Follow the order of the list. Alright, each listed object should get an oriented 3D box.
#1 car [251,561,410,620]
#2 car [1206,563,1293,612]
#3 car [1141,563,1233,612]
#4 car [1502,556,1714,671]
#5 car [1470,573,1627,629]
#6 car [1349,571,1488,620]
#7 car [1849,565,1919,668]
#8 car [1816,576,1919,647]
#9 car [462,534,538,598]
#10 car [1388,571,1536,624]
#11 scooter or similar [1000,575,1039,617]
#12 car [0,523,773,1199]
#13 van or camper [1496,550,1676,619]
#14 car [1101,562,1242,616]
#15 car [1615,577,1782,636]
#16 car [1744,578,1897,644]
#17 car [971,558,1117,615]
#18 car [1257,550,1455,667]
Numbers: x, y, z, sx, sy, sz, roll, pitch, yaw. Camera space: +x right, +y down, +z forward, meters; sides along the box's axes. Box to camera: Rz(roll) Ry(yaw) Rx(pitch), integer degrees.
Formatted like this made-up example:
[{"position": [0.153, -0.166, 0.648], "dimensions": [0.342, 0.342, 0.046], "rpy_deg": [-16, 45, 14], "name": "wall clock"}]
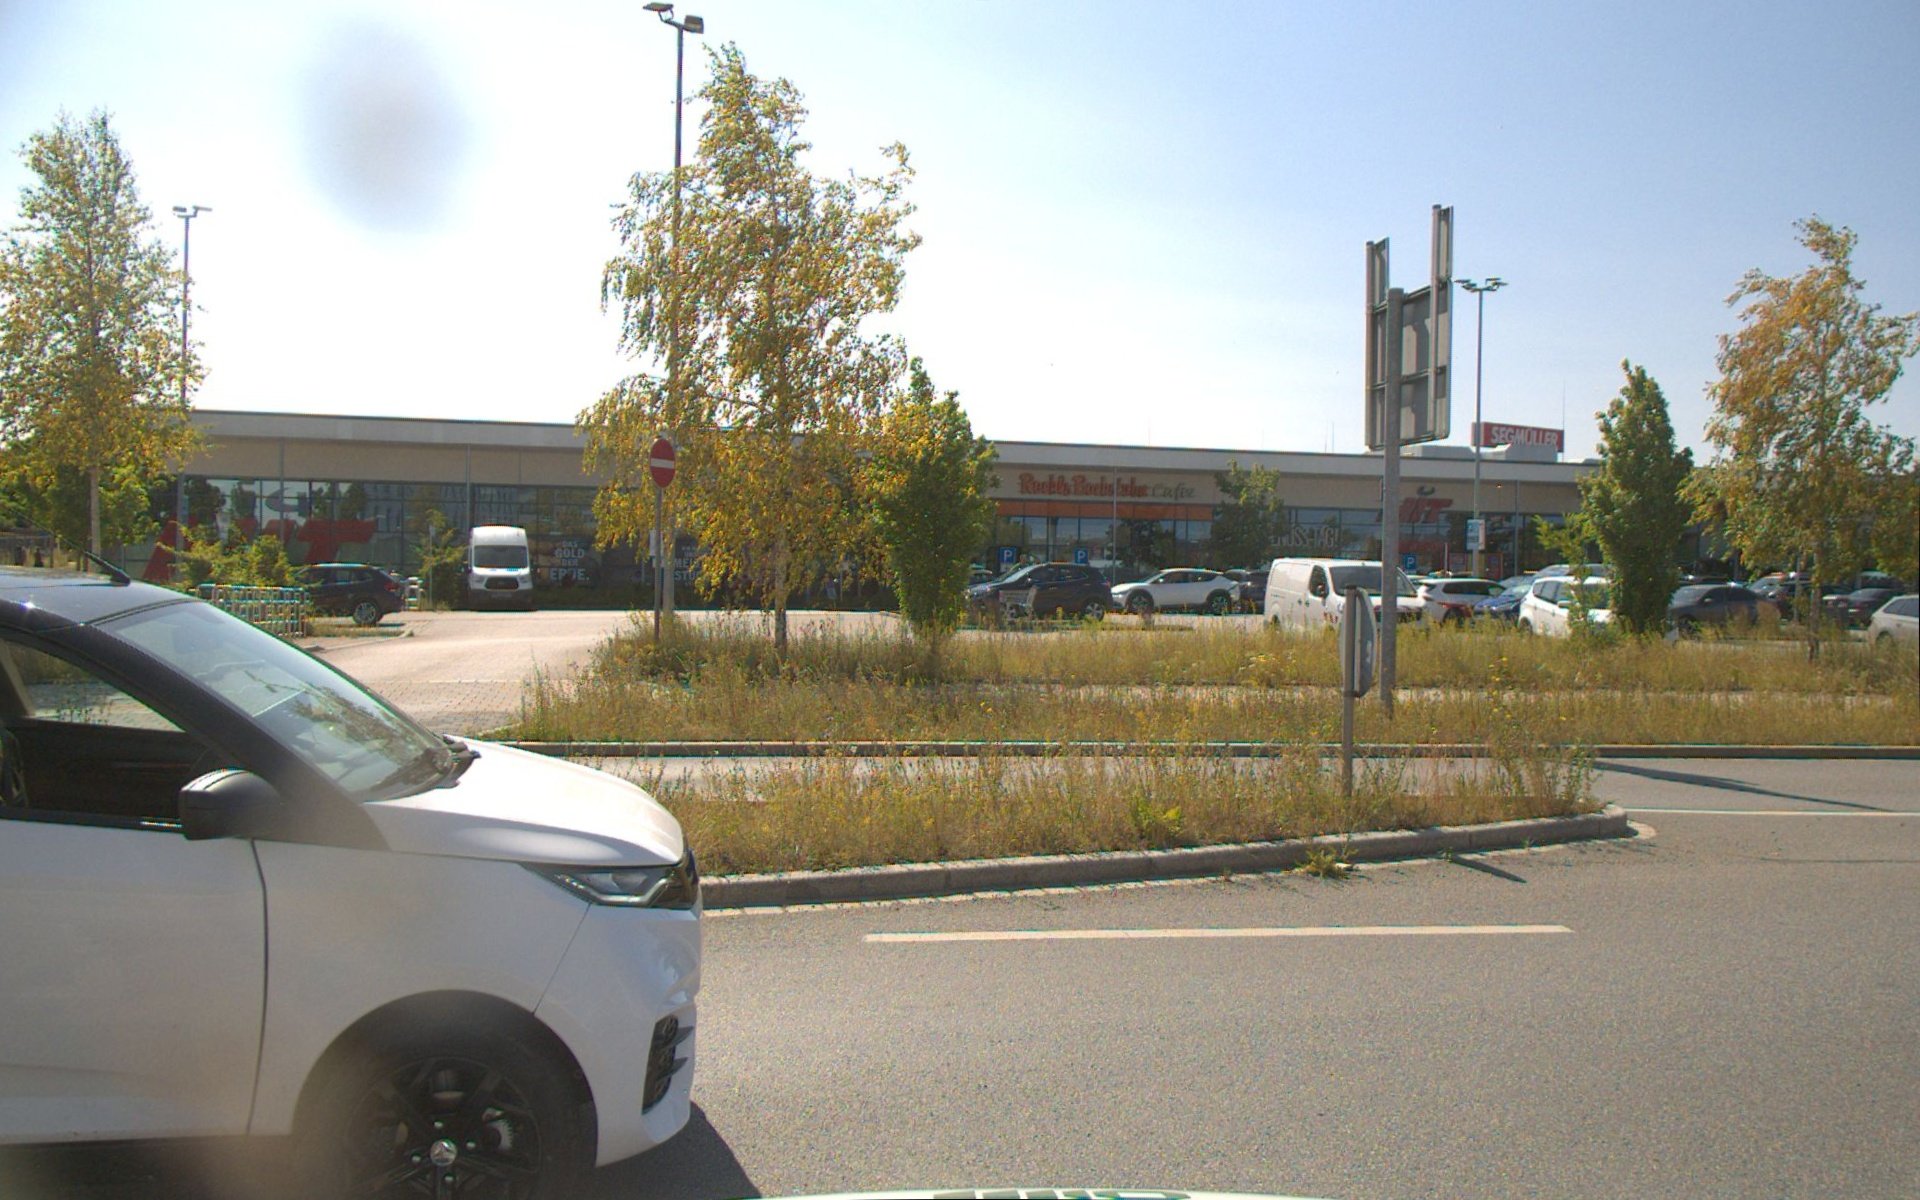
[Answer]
[{"position": [-16.396, -0.255, 43.260], "dimensions": [3.773, 1.448, 1.763], "rpy_deg": [1, 0, -19], "name": "car"}, {"position": [10.891, -0.494, 62.490], "dimensions": [1.958, 1.737, 3.990], "rpy_deg": [1, 1, -11], "name": "car"}, {"position": [8.401, -0.491, 61.563], "dimensions": [1.961, 1.737, 3.984], "rpy_deg": [0, 1, -15], "name": "car"}, {"position": [12.586, 0.196, 32.542], "dimensions": [2.113, 2.048, 5.116], "rpy_deg": [1, 1, -1], "name": "car"}, {"position": [15.628, 0.017, 43.966], "dimensions": [3.662, 1.415, 1.723], "rpy_deg": [0, 1, -18], "name": "car"}, {"position": [13.641, -0.141, 49.276], "dimensions": [3.662, 1.415, 1.723], "rpy_deg": [0, 1, -18], "name": "car"}, {"position": [20.231, 0.351, 33.048], "dimensions": [2.113, 2.048, 5.116], "rpy_deg": [1, 1, -1], "name": "car"}, {"position": [30.532, 0.375, 54.218], "dimensions": [4.405, 2.230, 1.988], "rpy_deg": [1, 0, -21], "name": "car"}, {"position": [-15.500, -1.143, 55.515], "dimensions": [2.188, 2.011, 6.662], "rpy_deg": [0, 1, -18], "name": "car"}, {"position": [14.034, -0.081, 46.259], "dimensions": [3.662, 1.415, 1.723], "rpy_deg": [0, 1, -18], "name": "car"}, {"position": [1.582, -0.117, 44.176], "dimensions": [0.926, 1.098, 0.651], "rpy_deg": [1, 1, -10], "name": "scooter or similar"}, {"position": [-1.977, 0.607, 3.879], "dimensions": [2.937, 1.515, 1.476], "rpy_deg": [1, 3, -11], "name": "car"}, {"position": [19.360, -0.487, 51.240], "dimensions": [4.947, 2.048, 1.994], "rpy_deg": [0, 1, -13], "name": "van or camper"}, {"position": [7.171, -0.382, 56.279], "dimensions": [4.392, 1.735, 1.869], "rpy_deg": [1, 0, -12], "name": "car"}, {"position": [20.505, 0.177, 45.961], "dimensions": [3.918, 1.534, 1.868], "rpy_deg": [1, 0, -14], "name": "car"}, {"position": [29.747, 0.371, 57.215], "dimensions": [4.389, 2.139, 1.995], "rpy_deg": [1, 0, -11], "name": "car"}, {"position": [2.333, -0.384, 46.085], "dimensions": [3.730, 1.535, 1.726], "rpy_deg": [0, 1, -15], "name": "car"}, {"position": [7.500, 0.092, 31.953], "dimensions": [2.041, 2.048, 5.222], "rpy_deg": [1, 1, -7], "name": "car"}]
